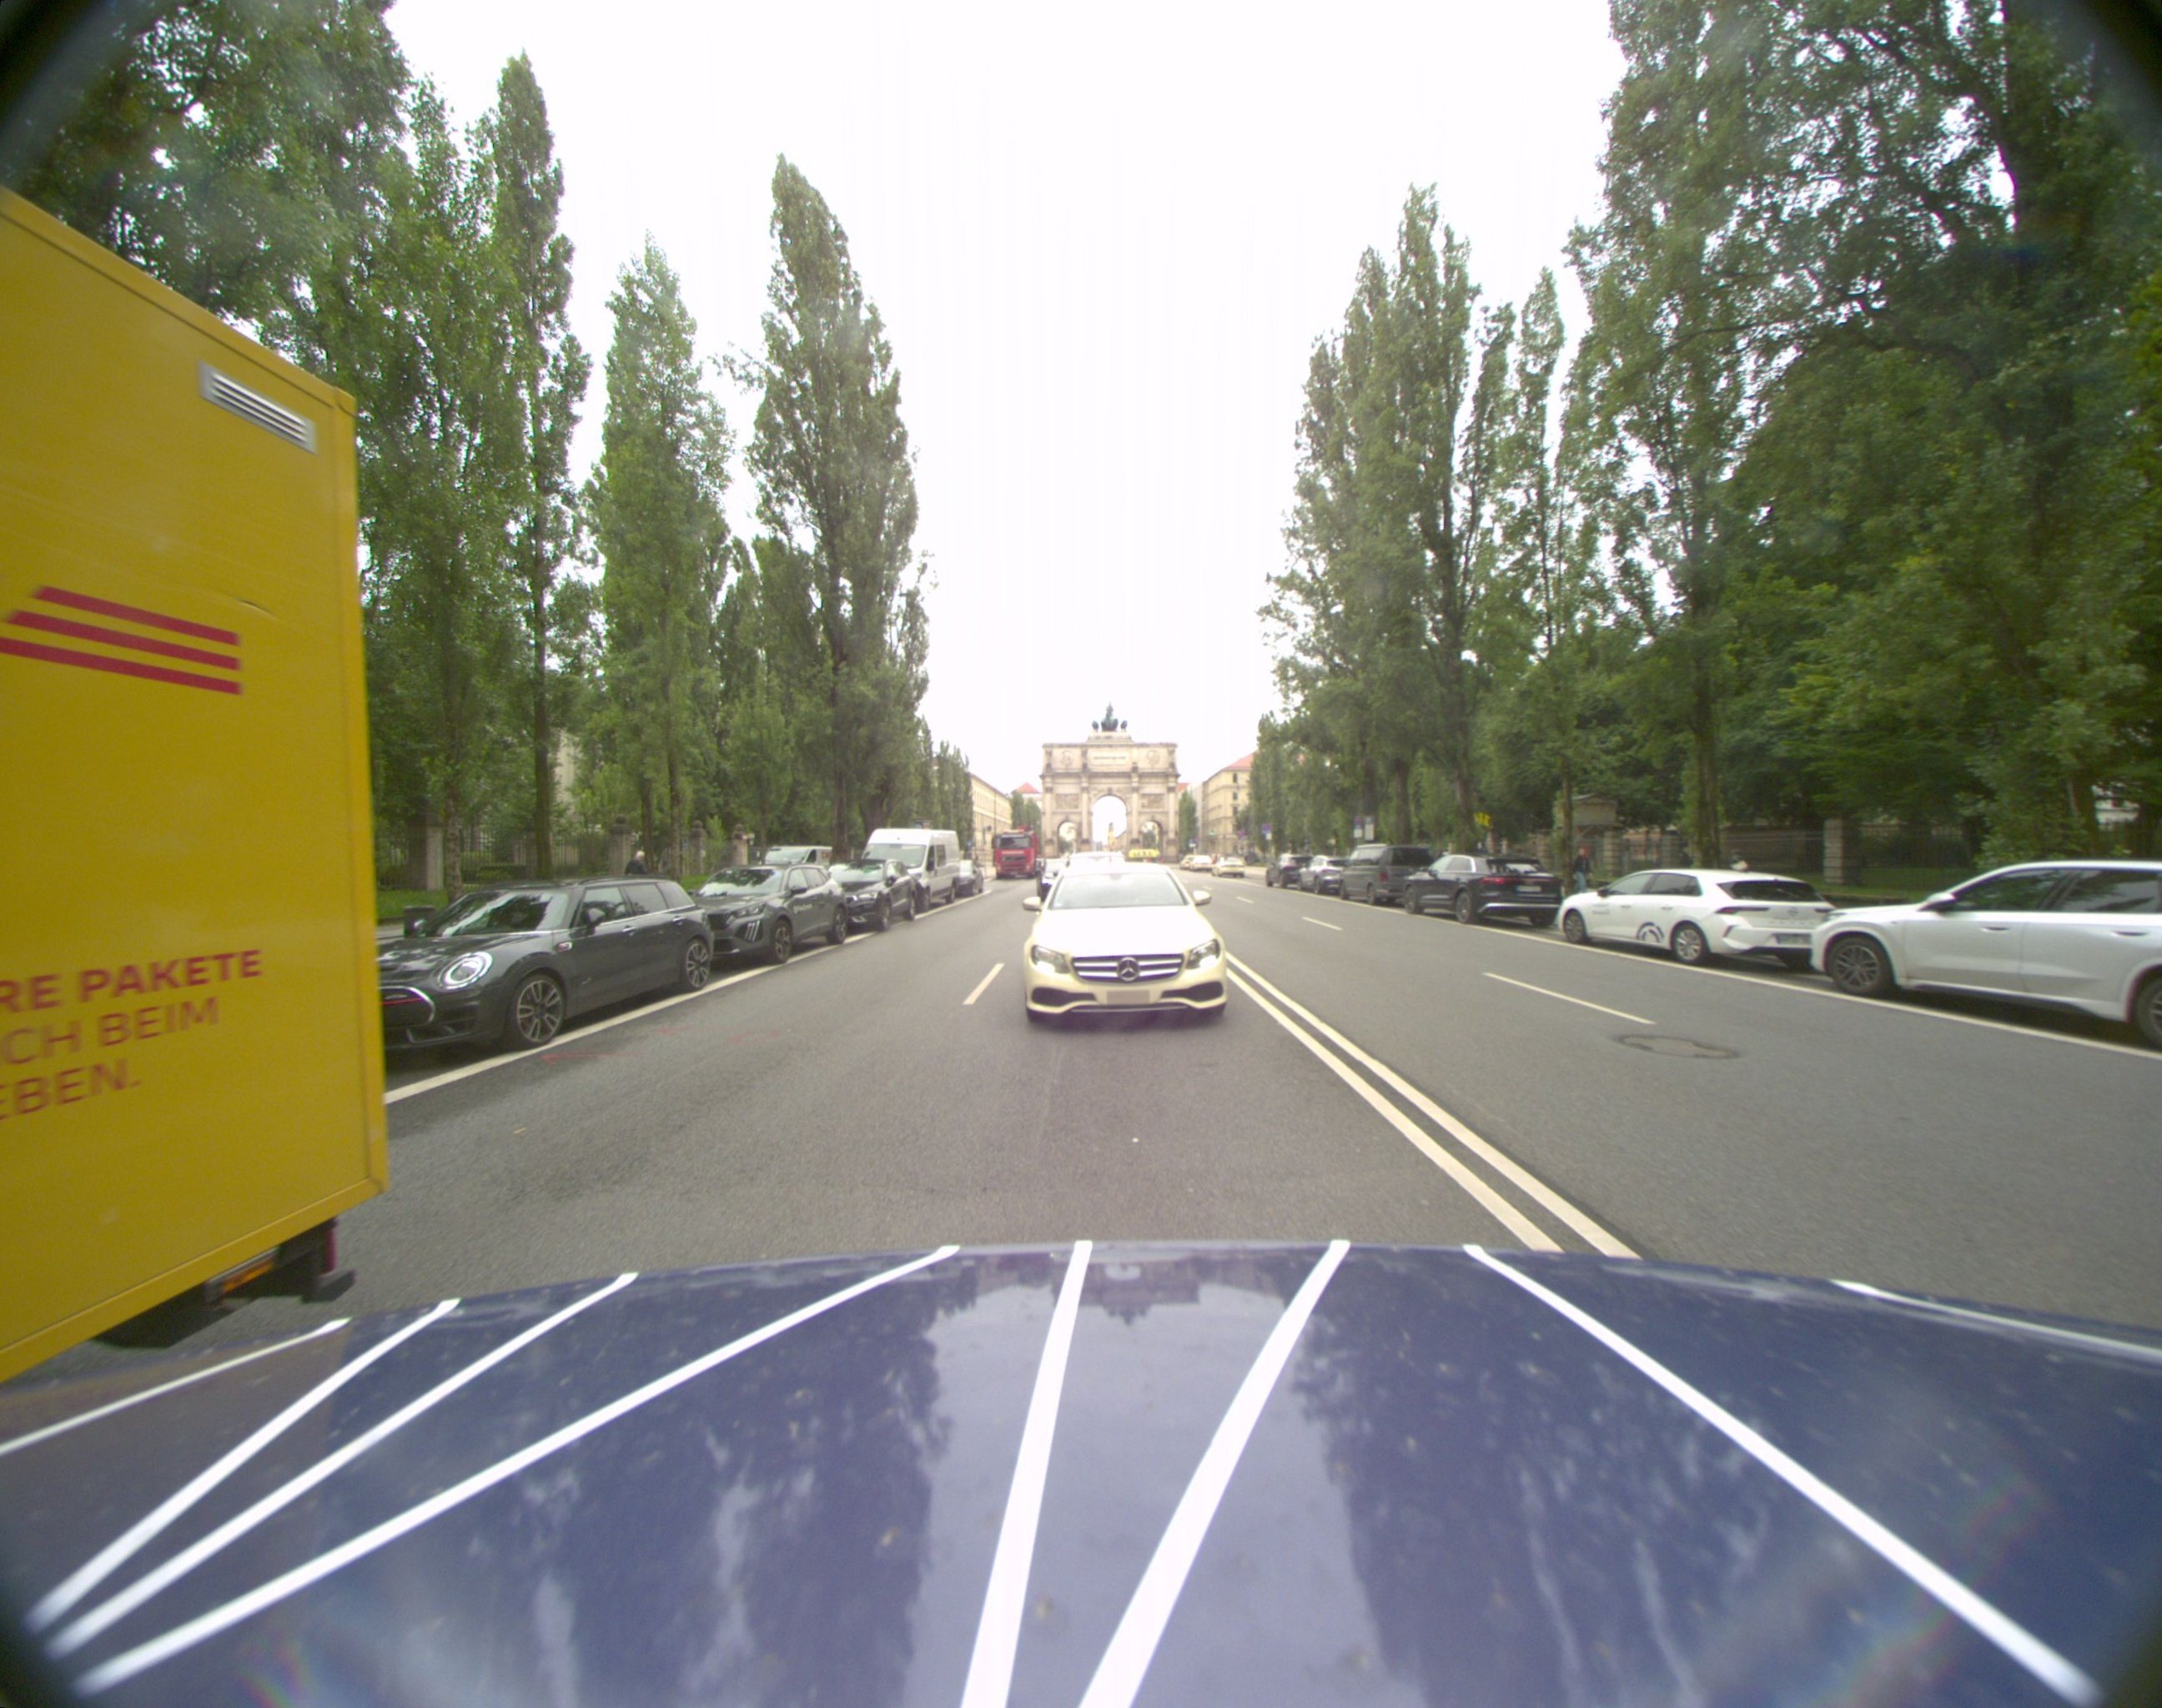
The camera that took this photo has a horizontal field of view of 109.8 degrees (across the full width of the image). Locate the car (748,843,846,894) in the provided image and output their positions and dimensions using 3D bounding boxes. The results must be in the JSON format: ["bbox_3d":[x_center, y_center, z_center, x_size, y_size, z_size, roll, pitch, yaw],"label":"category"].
[{"bbox_3d":[-11.765,0.532,31.909,1.998,1.935,5.083,-1,1,2],"label":"car"}]

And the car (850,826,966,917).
[{"bbox_3d":[-5.264,0.467,24.176,2.079,2.464,6.283,-2,0,1],"label":"car"}]

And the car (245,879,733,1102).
[{"bbox_3d":[-5.418,1.103,7.812,1.637,1.437,4.148,-3,1,1],"label":"car"}]

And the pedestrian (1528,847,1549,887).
[{"bbox_3d":[19.483,0.535,32.342,0.551,1.659,0.532,-1,1,1],"label":"pedestrian"}]

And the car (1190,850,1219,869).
[{"bbox_3d":[11.307,0.507,69.796,1.942,1.615,4.964,0,1,1],"label":"car"}]

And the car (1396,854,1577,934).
[{"bbox_3d":[9.767,0.862,18.857,1.819,1.599,5.053,2,1,1],"label":"car"}]

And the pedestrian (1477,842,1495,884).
[{"bbox_3d":[19.286,0.431,36.205,0.551,1.948,0.532,-1,1,1],"label":"pedestrian"}]

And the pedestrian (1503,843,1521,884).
[{"bbox_3d":[20.591,0.451,36.278,0.551,1.948,0.532,-1,1,1],"label":"pedestrian"}]

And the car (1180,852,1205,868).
[{"bbox_3d":[11.303,0.590,77.177,1.823,1.550,4.858,1,1,1],"label":"car"}]

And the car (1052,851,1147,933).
[{"bbox_3d":[0.445,0.807,18.283,1.953,1.615,4.411,-2,1,1],"label":"car"}]

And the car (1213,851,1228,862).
[{"bbox_3d":[24.702,0.471,135.046,2.003,1.844,4.990,1,1,3],"label":"car"}]

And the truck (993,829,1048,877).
[{"bbox_3d":[-4.164,-0.102,54.601,2.720,3.092,10.426,0,0,2],"label":"truck"}]

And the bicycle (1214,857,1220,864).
[{"bbox_3d":[18.557,0.895,103.528,0.709,0.933,1.736,-1,0,6],"label":"bicycle"}]

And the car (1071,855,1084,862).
[{"bbox_3d":[-0.819,1.043,175.223,1.785,1.739,4.326,0,0,18],"label":"car"}]

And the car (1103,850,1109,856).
[{"bbox_3d":[8.692,-0.319,261.472,1.998,2.002,4.395,-1,0,1],"label":"car"}]

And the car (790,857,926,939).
[{"bbox_3d":[-5.031,0.920,17.773,1.825,1.581,4.223,-1,1,1],"label":"car"}]

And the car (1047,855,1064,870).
[{"bbox_3d":[-2.829,0.912,85.459,1.808,1.619,4.000,0,0,0],"label":"car"}]

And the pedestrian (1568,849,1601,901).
[{"bbox_3d":[17.132,0.707,25.850,0.584,1.710,0.787,-1,1,0],"label":"pedestrian"}]

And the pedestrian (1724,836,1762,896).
[{"bbox_3d":[19.817,0.352,22.758,0.551,1.737,0.672,-1,1,1],"label":"pedestrian"}]

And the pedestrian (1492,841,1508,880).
[{"bbox_3d":[19.870,0.319,36.023,0.434,1.824,0.612,-1,1,1],"label":"pedestrian"}]

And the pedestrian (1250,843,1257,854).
[{"bbox_3d":[30.298,-0.952,133.505,0.796,2.002,0.754,-1,1,-33],"label":"pedestrian"}]

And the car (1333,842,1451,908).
[{"bbox_3d":[10.233,0.635,25.482,1.998,1.945,4.937,1,0,1],"label":"car"}]

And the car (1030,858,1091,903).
[{"bbox_3d":[-0.678,0.866,27.063,1.922,1.320,4.411,-2,1,0],"label":"car"}]

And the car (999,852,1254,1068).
[{"bbox_3d":[0.461,0.831,8.258,1.919,1.566,4.689,-2,1,3],"label":"car"}]

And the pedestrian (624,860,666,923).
[{"bbox_3d":[-11.844,1.008,20.660,0.717,1.650,0.633,-1,1,1],"label":"pedestrian"}]

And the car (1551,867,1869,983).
[{"bbox_3d":[9.800,0.999,12.381,1.680,1.414,4.237,1,1,1],"label":"car"}]

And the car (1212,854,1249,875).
[{"bbox_3d":[10.869,0.723,55.630,1.935,1.488,4.791,0,0,2],"label":"car"}]

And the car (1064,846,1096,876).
[{"bbox_3d":[-0.013,0.417,49.464,1.889,1.846,4.313,-1,0,2],"label":"car"}]

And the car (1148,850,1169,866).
[{"bbox_3d":[8.021,0.403,79.118,1.789,1.646,4.113,1,1,1],"label":"car"}]

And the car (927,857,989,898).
[{"bbox_3d":[-4.942,0.923,31.083,1.758,1.441,4.000,-3,0,1],"label":"car"}]

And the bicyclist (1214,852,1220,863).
[{"bbox_3d":[18.557,0.466,103.566,0.695,1.489,0.862,0,1,6],"label":"bicyclist"}]

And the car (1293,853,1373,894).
[{"bbox_3d":[10.521,0.749,32.055,1.895,1.575,4.654,0,0,1],"label":"car"}]

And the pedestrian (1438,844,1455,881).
[{"bbox_3d":[17.690,0.414,36.744,0.551,1.737,0.532,-1,1,1],"label":"pedestrian"}]

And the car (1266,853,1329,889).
[{"bbox_3d":[10.374,0.767,36.727,1.786,1.586,4.613,1,0,1],"label":"car"}]

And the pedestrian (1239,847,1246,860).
[{"bbox_3d":[22.245,-0.065,104.403,0.845,1.668,0.968,0,1,18],"label":"pedestrian"}]

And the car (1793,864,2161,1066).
[{"bbox_3d":[9.680,0.944,7.180,1.789,1.579,4.461,2,0,2],"label":"car"}]

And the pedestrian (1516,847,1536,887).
[{"bbox_3d":[18.926,0.545,32.305,0.551,1.691,0.532,-1,1,1],"label":"pedestrian"}]

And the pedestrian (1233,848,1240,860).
[{"bbox_3d":[21.425,-0.050,104.779,0.845,1.668,0.968,0,1,18],"label":"pedestrian"}]

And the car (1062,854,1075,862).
[{"bbox_3d":[-2.783,0.948,169.732,1.785,1.739,4.326,0,0,17],"label":"car"}]

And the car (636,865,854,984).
[{"bbox_3d":[-5.231,1.007,12.496,1.655,1.495,4.113,-2,1,1],"label":"car"}]
